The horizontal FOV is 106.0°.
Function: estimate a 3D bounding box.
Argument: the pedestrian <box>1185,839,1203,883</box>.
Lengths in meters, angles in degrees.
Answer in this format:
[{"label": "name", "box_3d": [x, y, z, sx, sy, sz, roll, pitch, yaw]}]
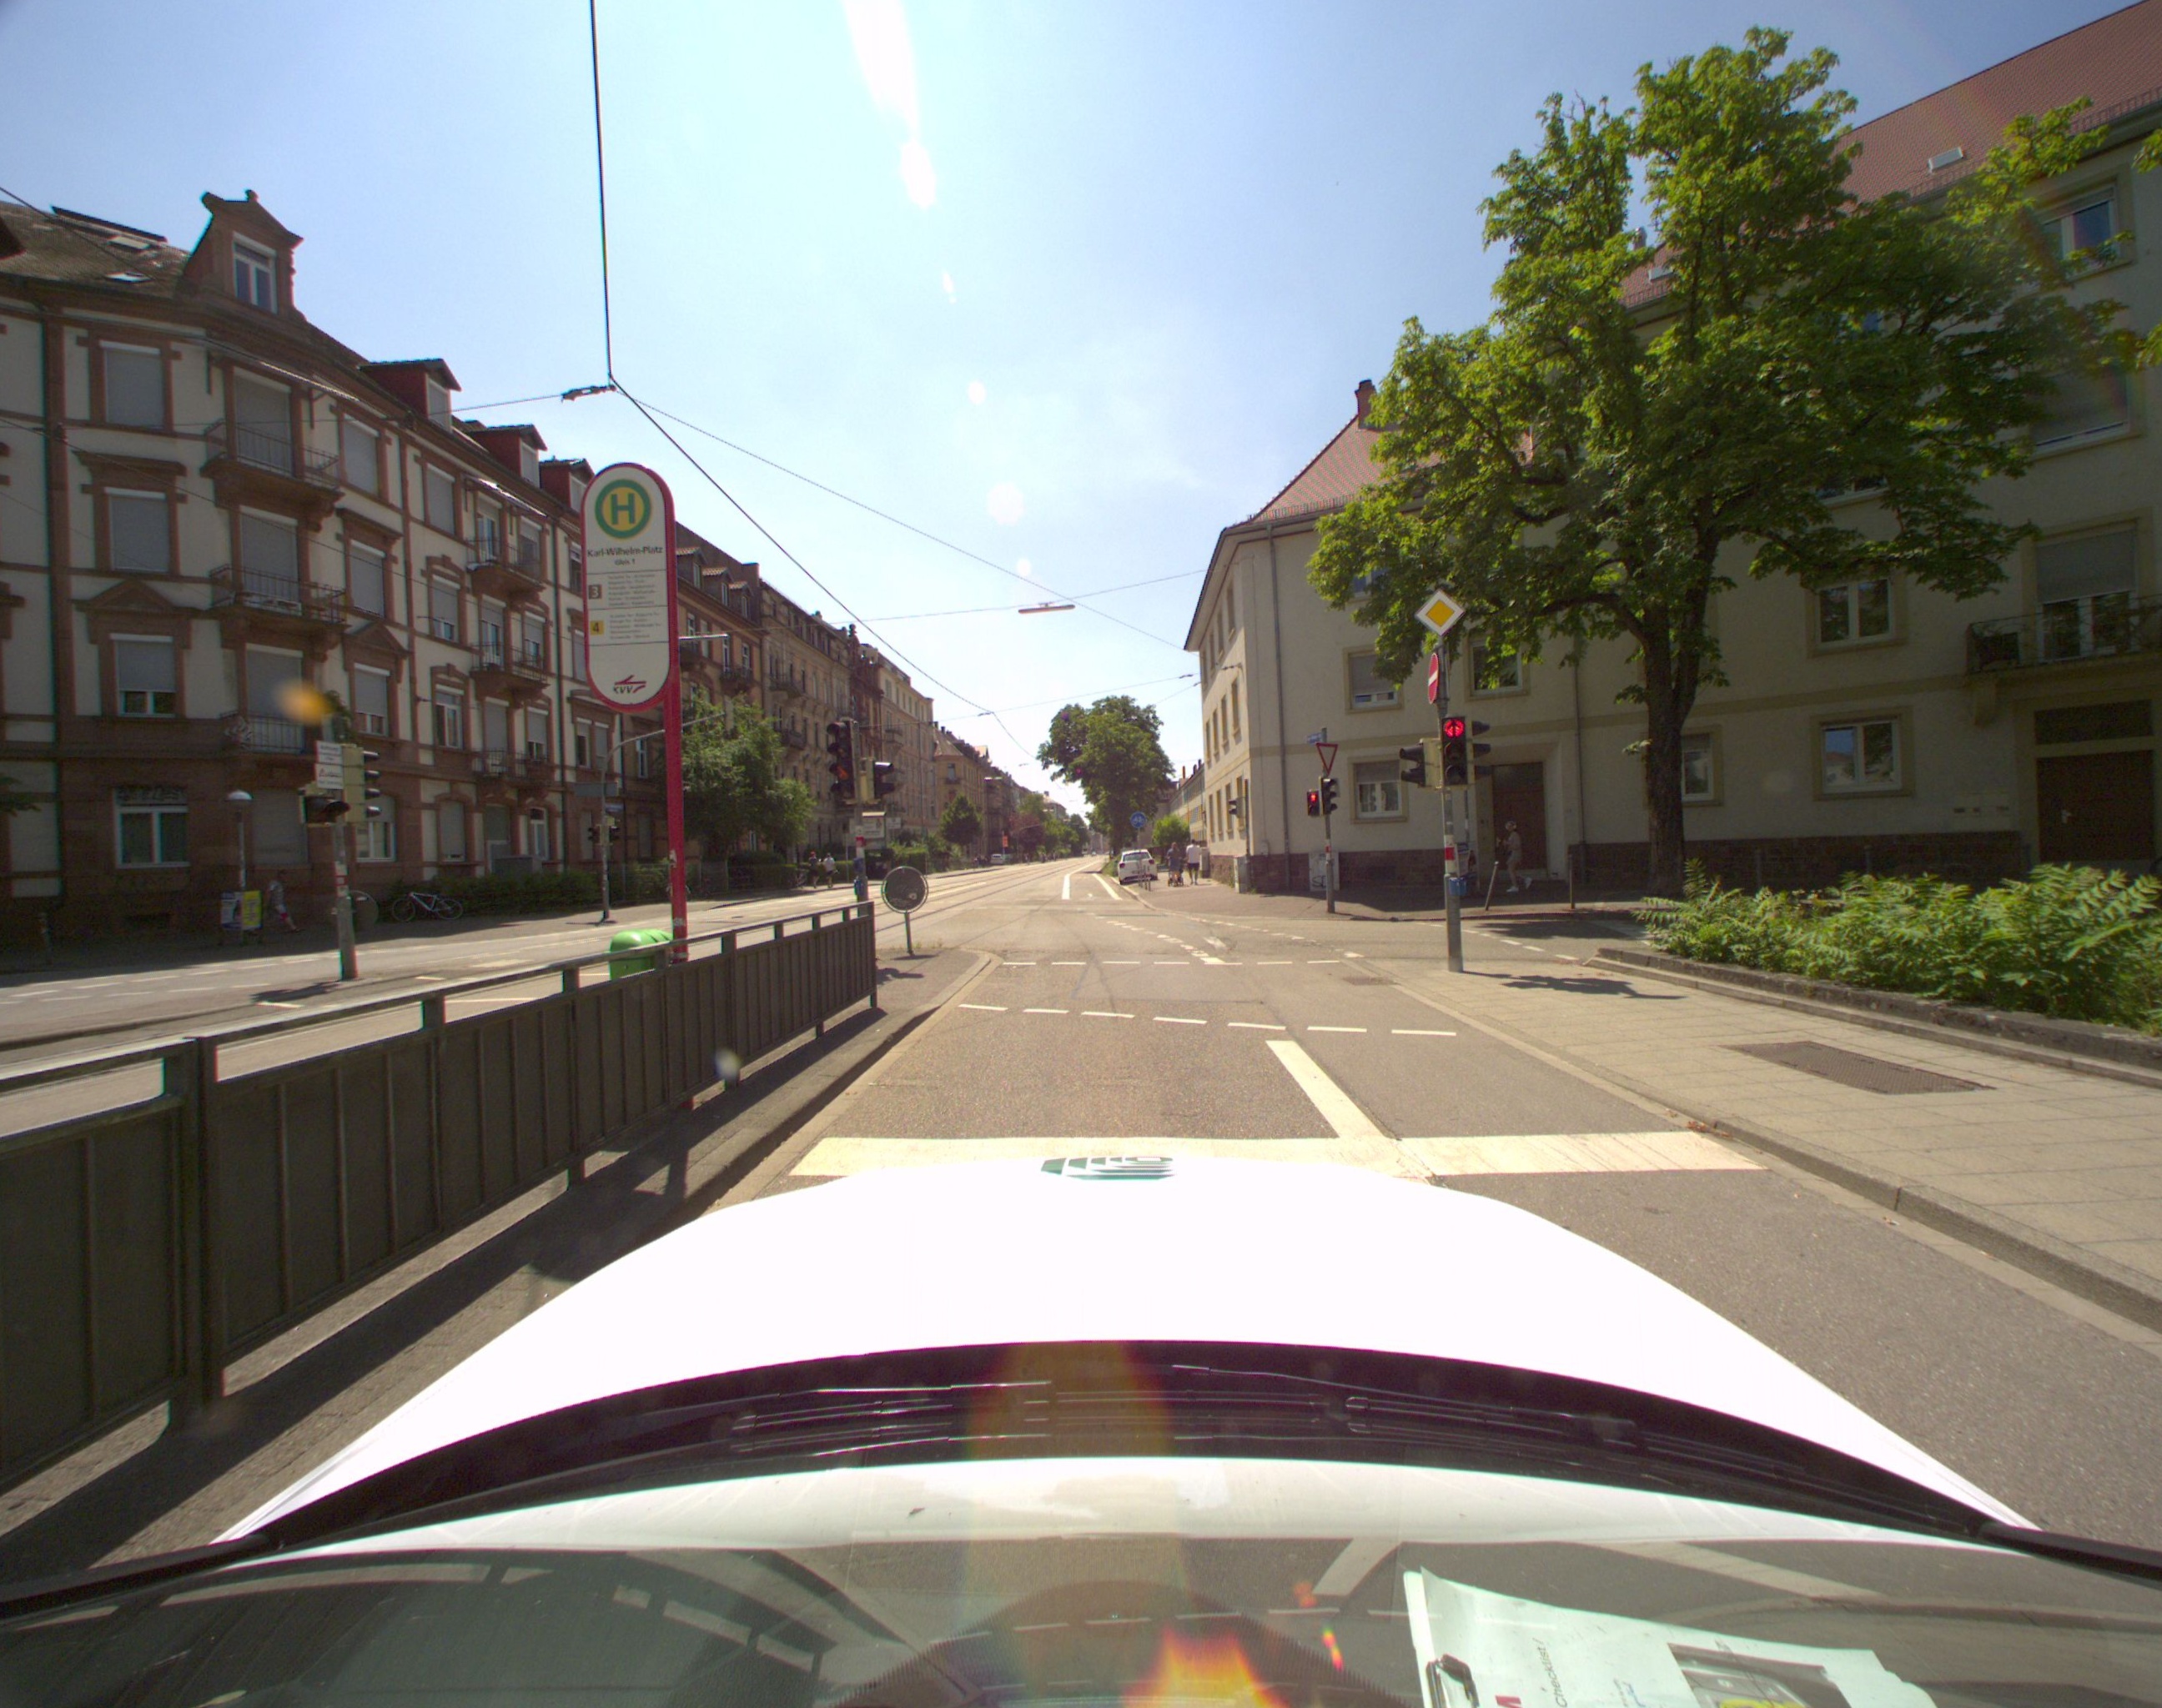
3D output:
[{"label": "pedestrian", "box_3d": [4.250, 0.253, 30.644, 0.555, 1.645, 0.677, 0, -1, 1]}]

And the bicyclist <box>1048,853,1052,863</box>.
[{"label": "bicyclist", "box_3d": [-5.781, 0.780, 151.138, 0.724, 1.818, 1.080, 0, -1, 3]}]

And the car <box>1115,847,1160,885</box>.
[{"label": "car", "box_3d": [2.523, 0.528, 37.414, 1.808, 1.516, 4.001, -4, -1, 2]}]

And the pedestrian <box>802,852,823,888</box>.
[{"label": "pedestrian", "box_3d": [-13.866, 0.838, 42.075, 0.813, 1.822, 0.873, 0, 1, -1]}]

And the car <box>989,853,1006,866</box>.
[{"label": "car", "box_3d": [-11.876, 0.801, 116.073, 1.912, 1.715, 4.001, 0, -1, 2]}]

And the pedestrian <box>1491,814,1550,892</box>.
[{"label": "pedestrian", "box_3d": [10.312, -0.021, 19.139, 1.044, 1.690, 0.658, -6, 3, 28]}]

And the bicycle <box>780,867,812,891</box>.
[{"label": "bicycle", "box_3d": [-14.389, 1.253, 41.265, 0.936, 1.136, 2.767, 0, -1, -7]}]

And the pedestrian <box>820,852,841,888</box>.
[{"label": "pedestrian", "box_3d": [-12.994, 0.825, 42.235, 0.813, 1.822, 0.873, 0, 1, -1]}]

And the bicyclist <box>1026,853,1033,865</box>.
[{"label": "bicyclist", "box_3d": [-7.227, 0.741, 114.160, 0.724, 1.629, 1.080, 0, -1, 3]}]

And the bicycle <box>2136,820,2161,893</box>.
[{"label": "bicycle", "box_3d": [17.007, 0.019, 12.090, 0.527, 1.104, 1.589, -2, 0, -34]}]

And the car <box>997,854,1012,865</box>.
[{"label": "car", "box_3d": [-11.655, 0.865, 124.338, 1.912, 1.715, 4.001, 0, -1, 2]}]

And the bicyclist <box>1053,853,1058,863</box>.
[{"label": "bicyclist", "box_3d": [-4.746, 0.786, 151.070, 0.724, 1.818, 1.080, 0, -1, 3]}]

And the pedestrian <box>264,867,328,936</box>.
[{"label": "pedestrian", "box_3d": [-20.397, 1.218, 21.167, 0.713, 1.689, 1.069, -2, 0, 40]}]

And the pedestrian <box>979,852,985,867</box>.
[{"label": "pedestrian", "box_3d": [-11.367, 0.648, 93.593, 0.519, 1.659, 0.529, -2, 0, 1]}]

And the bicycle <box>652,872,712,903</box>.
[{"label": "bicycle", "box_3d": [-15.672, 1.300, 32.091, 0.934, 1.136, 2.774, 0, -1, 1]}]

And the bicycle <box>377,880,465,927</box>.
[{"label": "bicycle", "box_3d": [-19.557, 1.439, 24.169, 0.557, 1.294, 1.975, -1, -1, 43]}]

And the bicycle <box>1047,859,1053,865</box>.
[{"label": "bicycle", "box_3d": [-5.758, 1.522, 151.109, 0.724, 1.123, 2.087, 0, -1, 4]}]

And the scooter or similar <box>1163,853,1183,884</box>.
[{"label": "scooter or similar", "box_3d": [3.553, 0.543, 31.276, 0.552, 1.155, 1.210, -1, -1, 16]}]

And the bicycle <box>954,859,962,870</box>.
[{"label": "bicycle", "box_3d": [-12.152, 1.024, 80.507, 0.677, 1.064, 1.912, -2, 0, -9]}]

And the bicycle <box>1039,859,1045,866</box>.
[{"label": "bicycle", "box_3d": [-6.114, 1.350, 128.333, 0.724, 1.123, 2.087, 0, -1, 4]}]

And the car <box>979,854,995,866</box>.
[{"label": "car", "box_3d": [-14.328, 0.887, 124.476, 1.912, 1.715, 4.001, 0, -1, 2]}]

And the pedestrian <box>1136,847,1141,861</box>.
[{"label": "pedestrian", "box_3d": [6.500, 0.023, 92.308, 0.519, 1.562, 0.573, -2, 0, 1]}]

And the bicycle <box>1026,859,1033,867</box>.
[{"label": "bicycle", "box_3d": [-7.275, 1.260, 114.158, 0.724, 1.123, 2.087, 0, -1, 4]}]

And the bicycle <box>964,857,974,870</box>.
[{"label": "bicycle", "box_3d": [-11.708, 0.951, 85.144, 0.675, 1.278, 1.918, -2, 0, -1]}]

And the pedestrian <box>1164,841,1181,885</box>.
[{"label": "pedestrian", "box_3d": [3.409, 0.339, 30.374, 0.555, 1.645, 0.677, 0, -1, 1]}]

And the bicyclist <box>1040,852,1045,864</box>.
[{"label": "bicyclist", "box_3d": [-6.106, 0.645, 128.491, 0.724, 1.768, 1.080, 0, -1, 3]}]
